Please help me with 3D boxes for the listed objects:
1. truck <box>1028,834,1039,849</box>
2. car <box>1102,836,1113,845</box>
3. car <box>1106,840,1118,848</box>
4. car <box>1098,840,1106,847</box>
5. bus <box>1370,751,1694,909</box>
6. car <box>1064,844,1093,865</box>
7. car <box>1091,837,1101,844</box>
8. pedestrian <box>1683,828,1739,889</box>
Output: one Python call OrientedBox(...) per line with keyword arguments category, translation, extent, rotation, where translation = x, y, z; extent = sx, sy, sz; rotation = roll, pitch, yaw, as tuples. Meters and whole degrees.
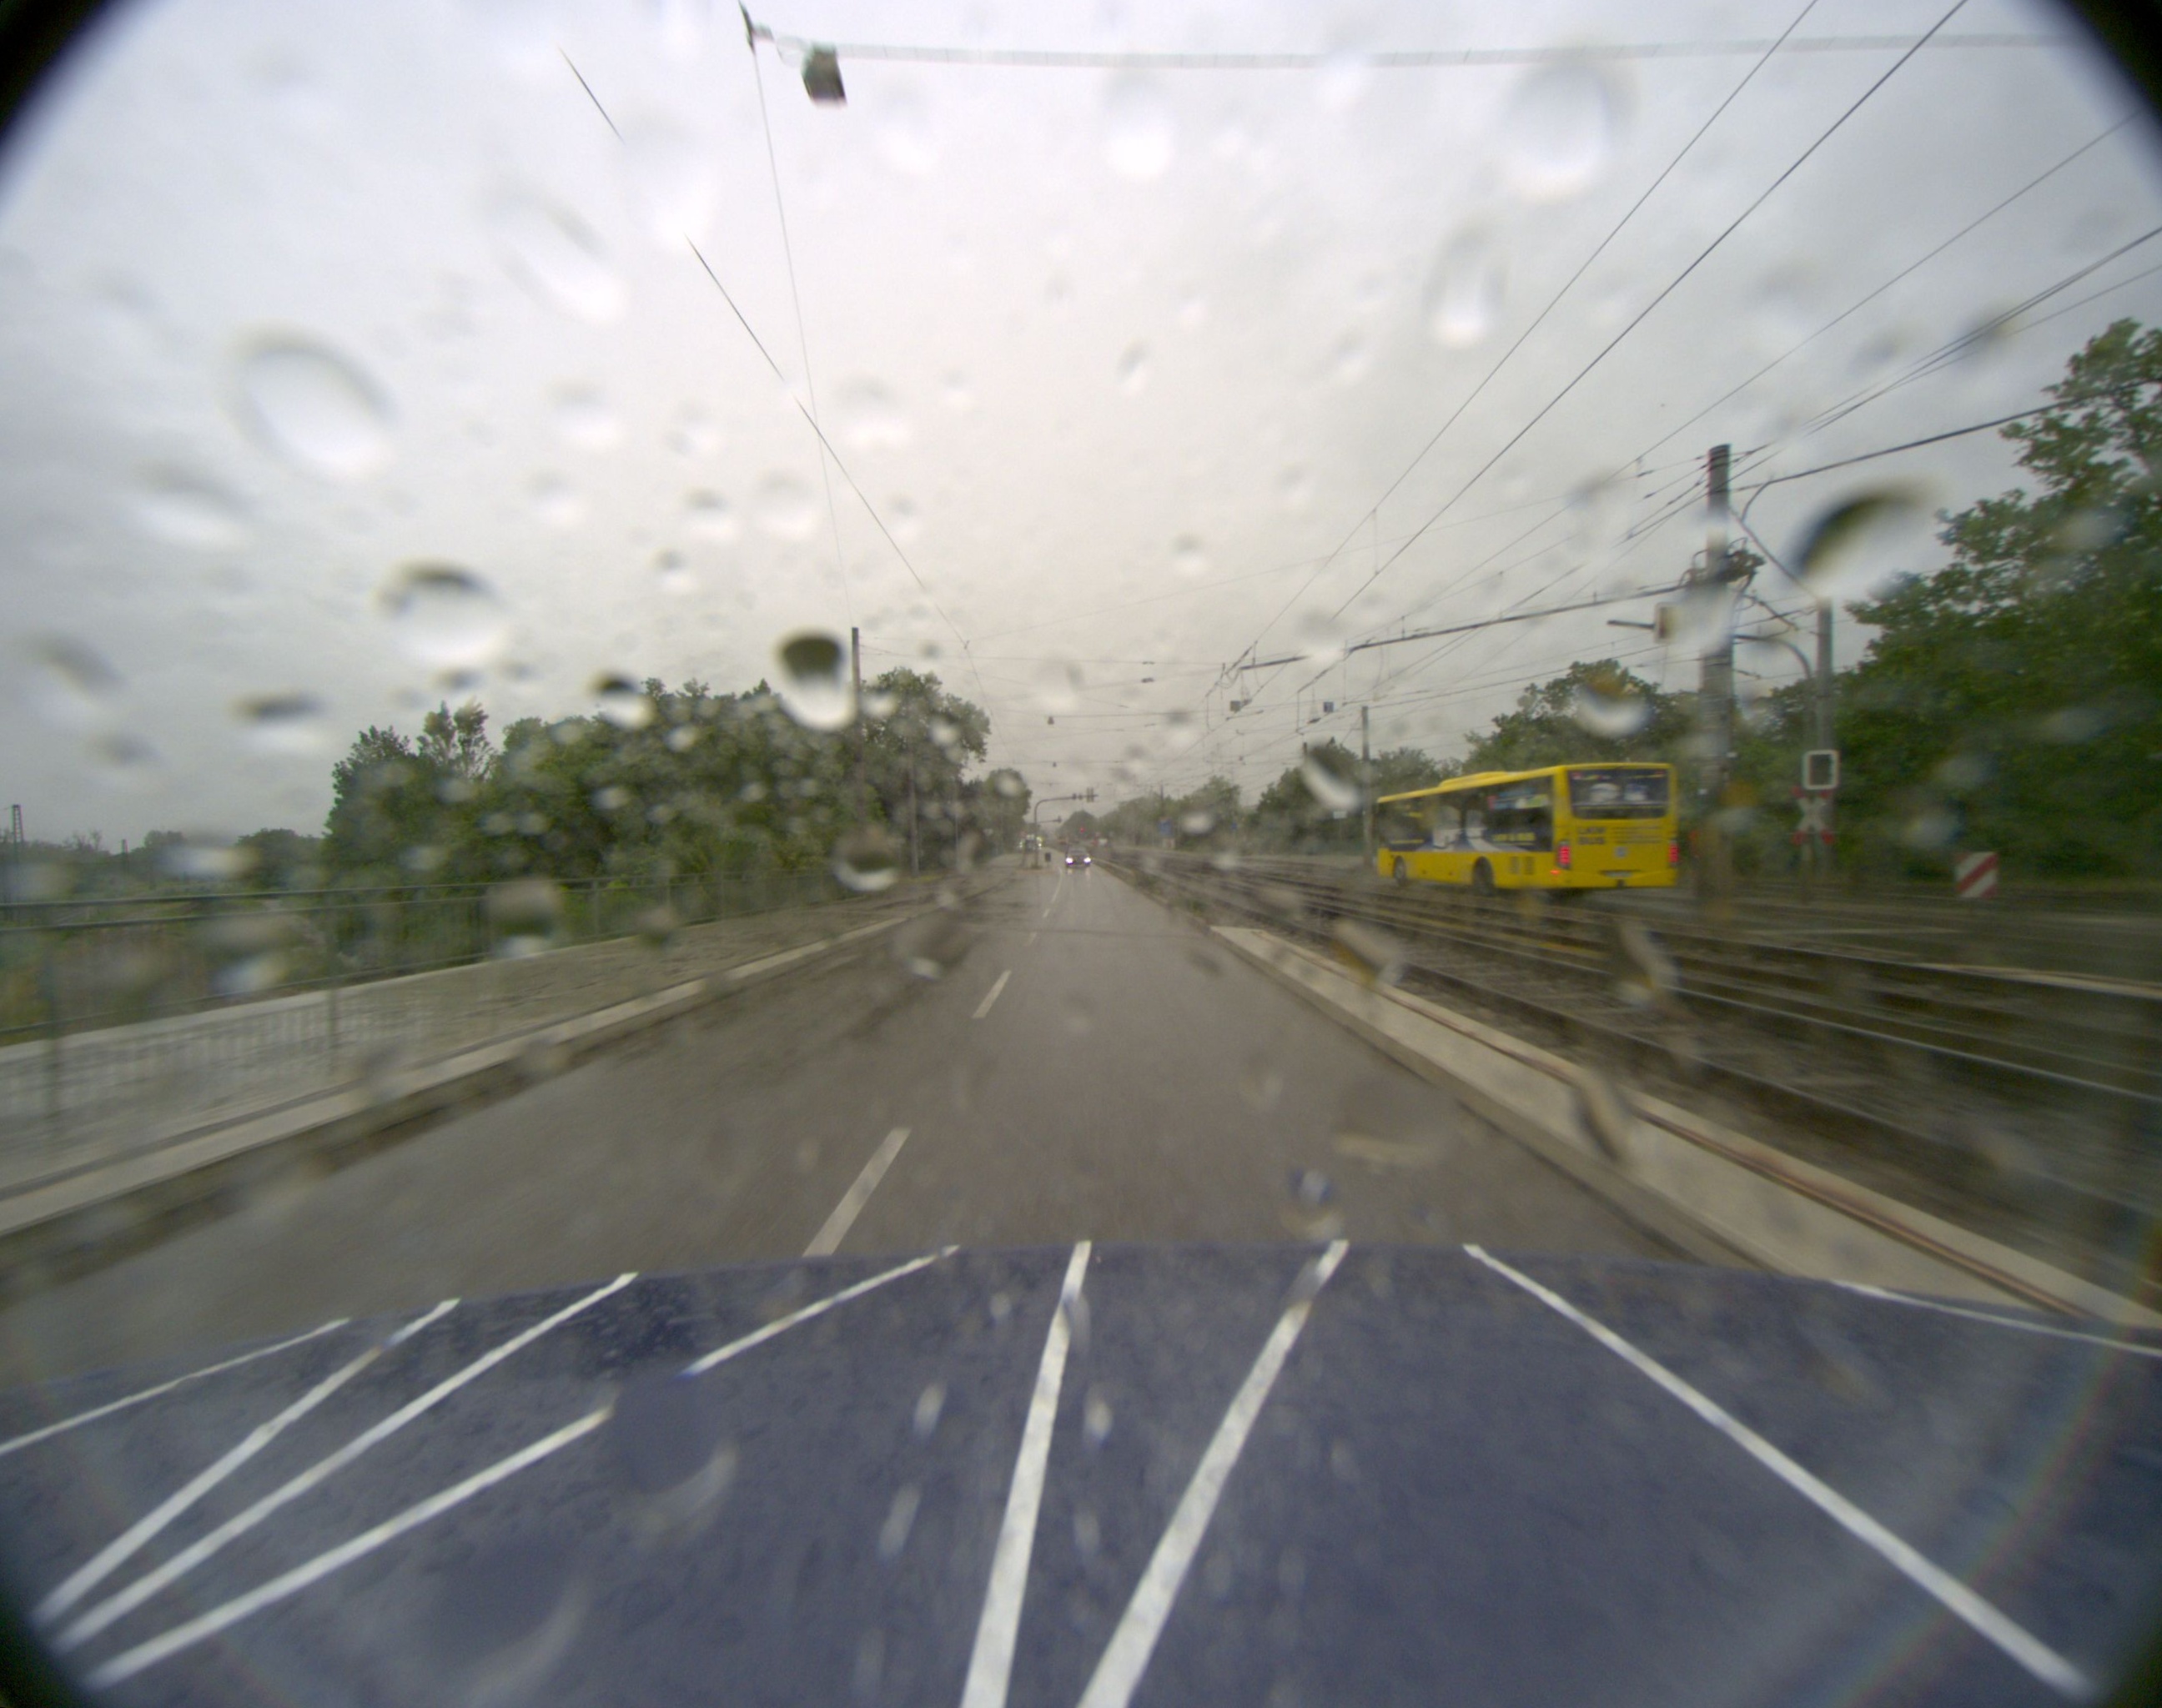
OrientedBox(category="truck", translation=(-12.131, -3.208, 195.868), extent=(2.568, 3.848, 7.842), rotation=(-3, 1, -4))
OrientedBox(category="car", translation=(6.208, -3.257, 179.540), extent=(1.999, 2.032, 5.025), rotation=(-3, 2, -4))
OrientedBox(category="car", translation=(6.547, -2.102, 162.253), extent=(1.999, 1.639, 5.368), rotation=(-3, 2, -4))
OrientedBox(category="car", translation=(5.549, -2.780, 204.446), extent=(1.729, 1.592, 3.648), rotation=(-3, 2, -4))
OrientedBox(category="bus", translation=(11.569, -0.467, 21.464), extent=(2.715, 3.321, 10.993), rotation=(0, 0, 1))
OrientedBox(category="car", translation=(-0.255, 0.038, 61.734), extent=(1.999, 1.497, 4.194), rotation=(-3, 1, -4))
OrientedBox(category="car", translation=(4.018, -3.488, 200.708), extent=(1.999, 1.639, 5.368), rotation=(-3, 2, -4))
OrientedBox(category="pedestrian", translation=(19.624, 0.133, 23.694), extent=(0.866, 1.809, 1.042), rotation=(-3, 3, -1))
